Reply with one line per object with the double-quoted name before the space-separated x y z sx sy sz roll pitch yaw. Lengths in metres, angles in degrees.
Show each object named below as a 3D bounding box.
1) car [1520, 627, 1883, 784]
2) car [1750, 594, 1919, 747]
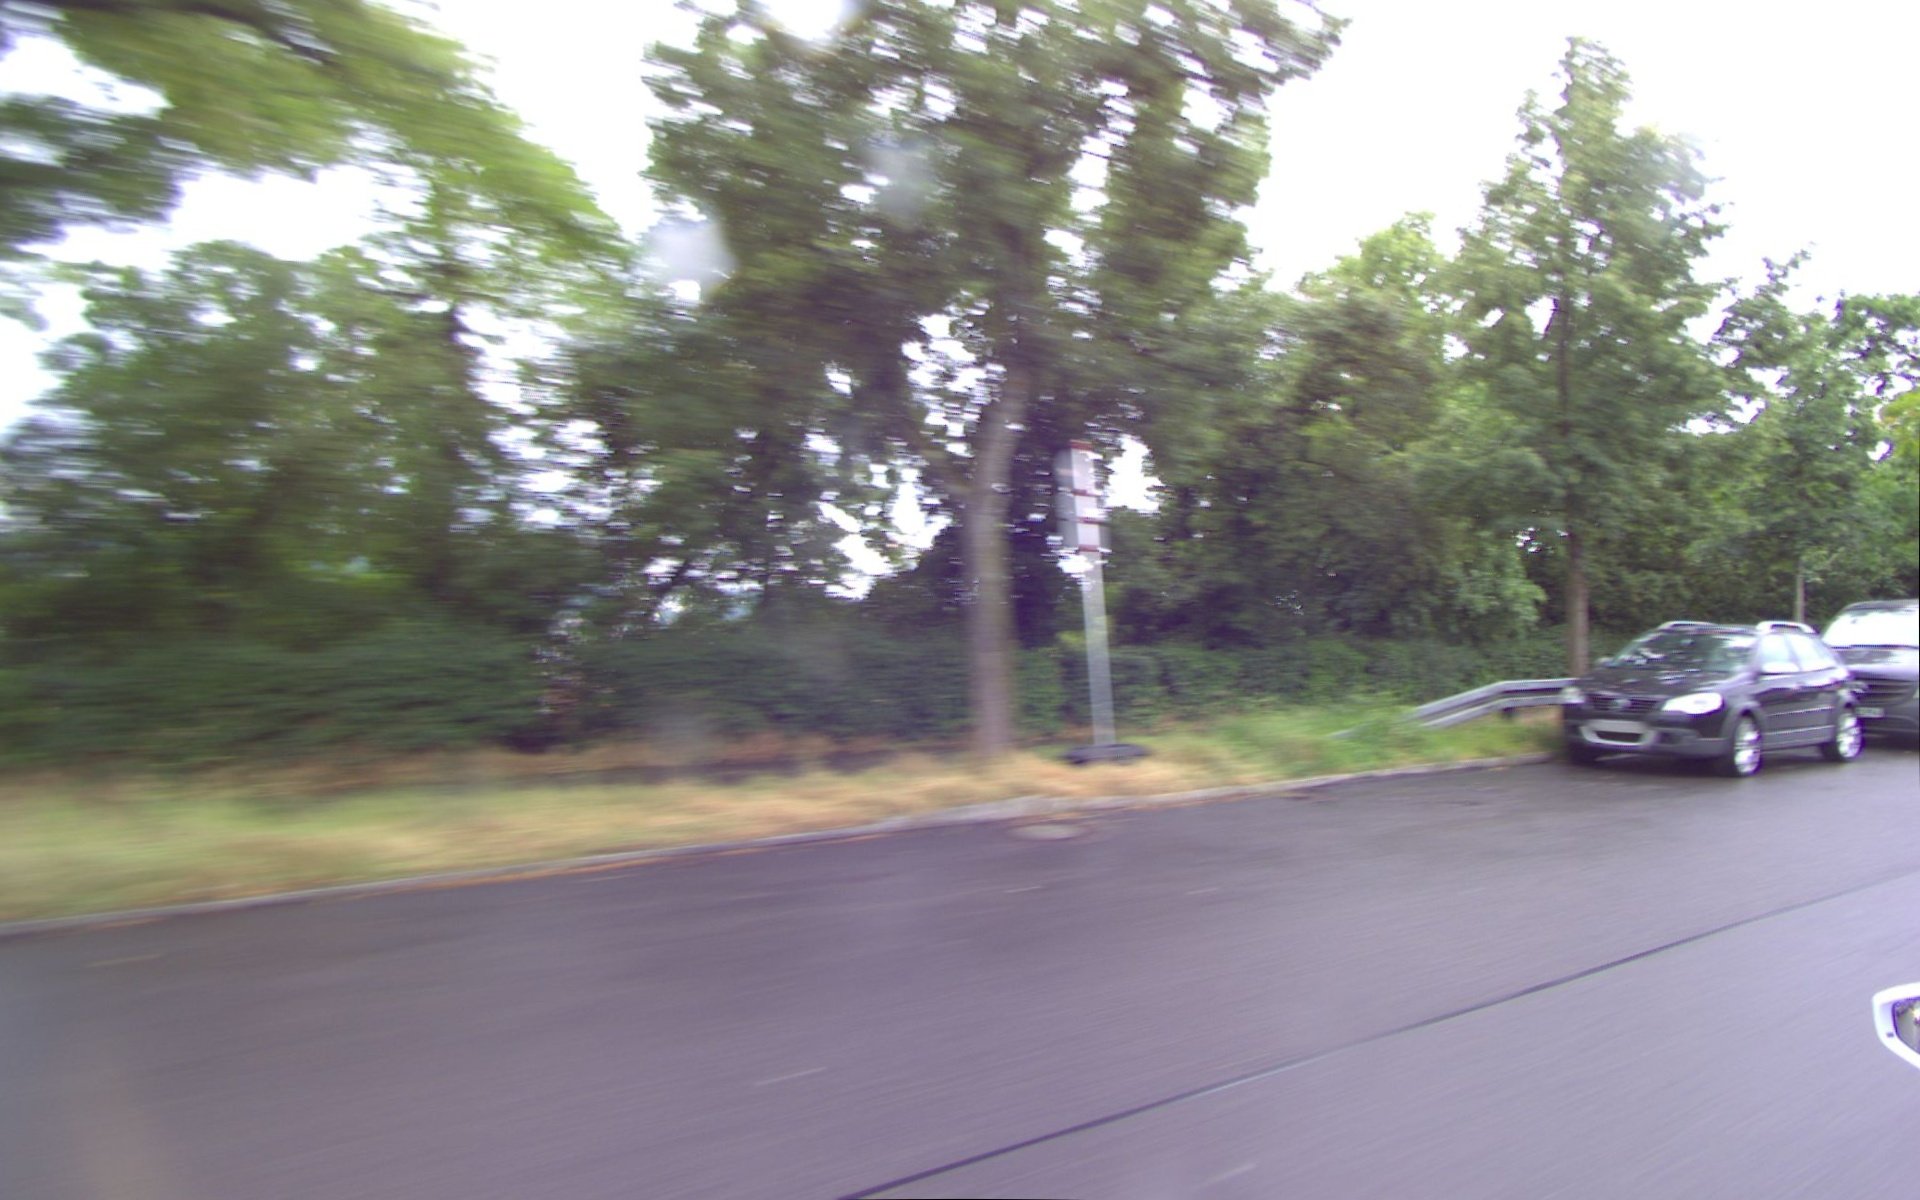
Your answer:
"car" 8.316 1.050 11.191 4.207 1.456 1.789 2 -2 -31
"car" 13.509 0.928 13.996 5.316 1.843 2.074 2 -2 -29
